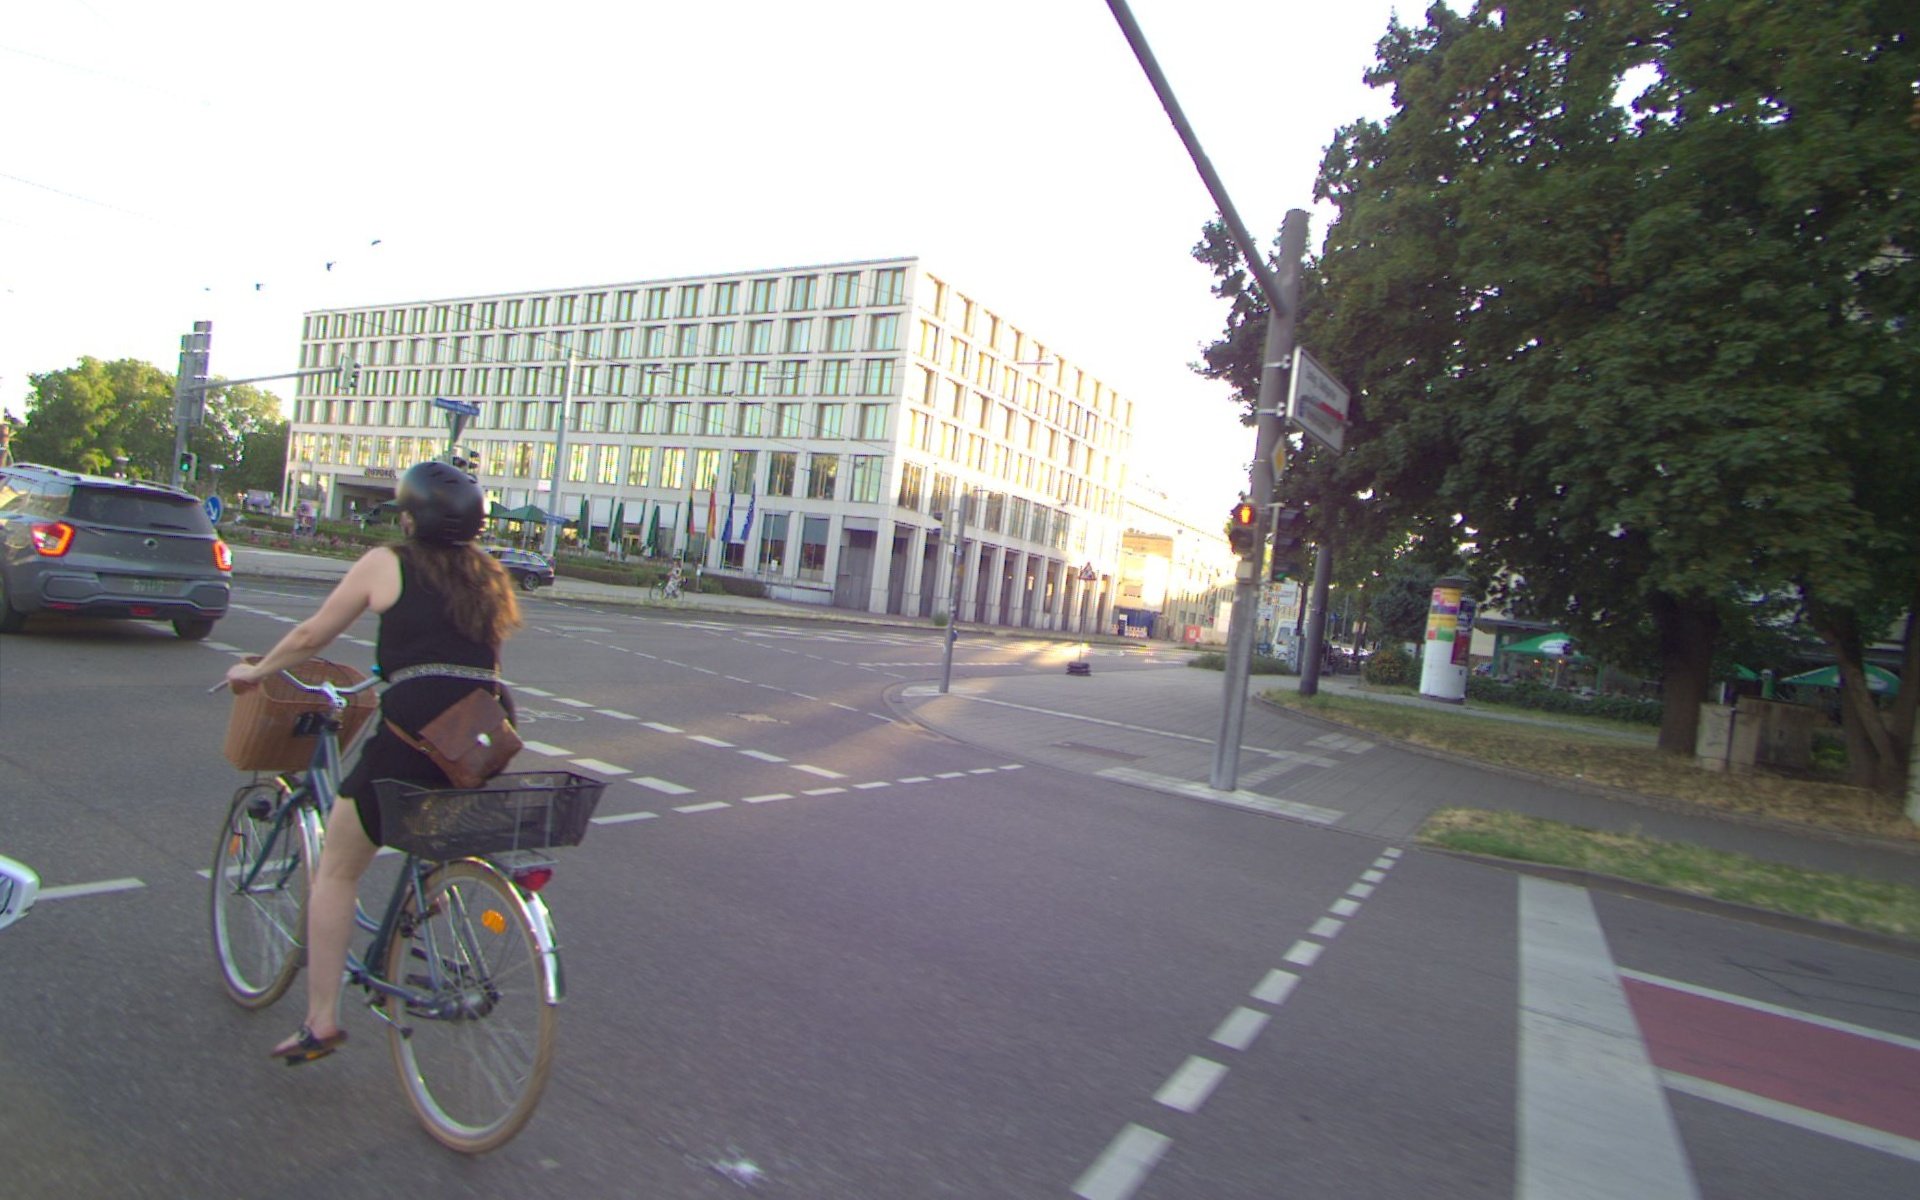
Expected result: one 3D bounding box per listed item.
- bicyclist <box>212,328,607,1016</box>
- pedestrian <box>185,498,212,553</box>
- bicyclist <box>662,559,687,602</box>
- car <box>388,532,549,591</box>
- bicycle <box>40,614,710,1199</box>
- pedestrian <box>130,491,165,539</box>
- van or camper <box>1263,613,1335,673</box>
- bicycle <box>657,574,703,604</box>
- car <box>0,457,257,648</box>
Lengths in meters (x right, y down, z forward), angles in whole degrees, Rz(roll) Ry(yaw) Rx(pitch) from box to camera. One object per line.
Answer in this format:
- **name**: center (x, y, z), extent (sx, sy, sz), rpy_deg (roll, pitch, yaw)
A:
- **bicyclist**: center (-1.518, 0.166, 2.812), extent (0.587, 1.656, 0.609), rpy_deg (7, 1, 29)
- **pedestrian**: center (-24.070, -2.350, 31.794), extent (0.533, 1.647, 0.620), rpy_deg (6, 2, -40)
- **bicyclist**: center (-11.690, -0.797, 41.204), extent (0.533, 1.656, 0.594), rpy_deg (8, 2, 38)
- **car**: center (-17.451, -1.336, 35.901), extent (1.792, 1.541, 4.787), rpy_deg (5, -1, 41)
- **bicycle**: center (-1.765, 0.733, 2.903), extent (2.050, 1.128, 0.609), rpy_deg (7, 1, 28)
- **pedestrian**: center (-29.667, -3.091, 36.730), extent (0.717, 1.647, 0.734), rpy_deg (6, 1, -26)
- **van or camper**: center (17.595, 2.260, 52.073), extent (2.078, 2.715, 4.697), rpy_deg (7, 0, 34)
- **bicycle**: center (-11.522, -0.453, 41.454), extent (0.532, 1.065, 1.754), rpy_deg (7, 0, 37)
- **car**: center (-9.534, -0.587, 10.778), extent (4.021, 1.625, 1.695), rpy_deg (7, 0, 31)
